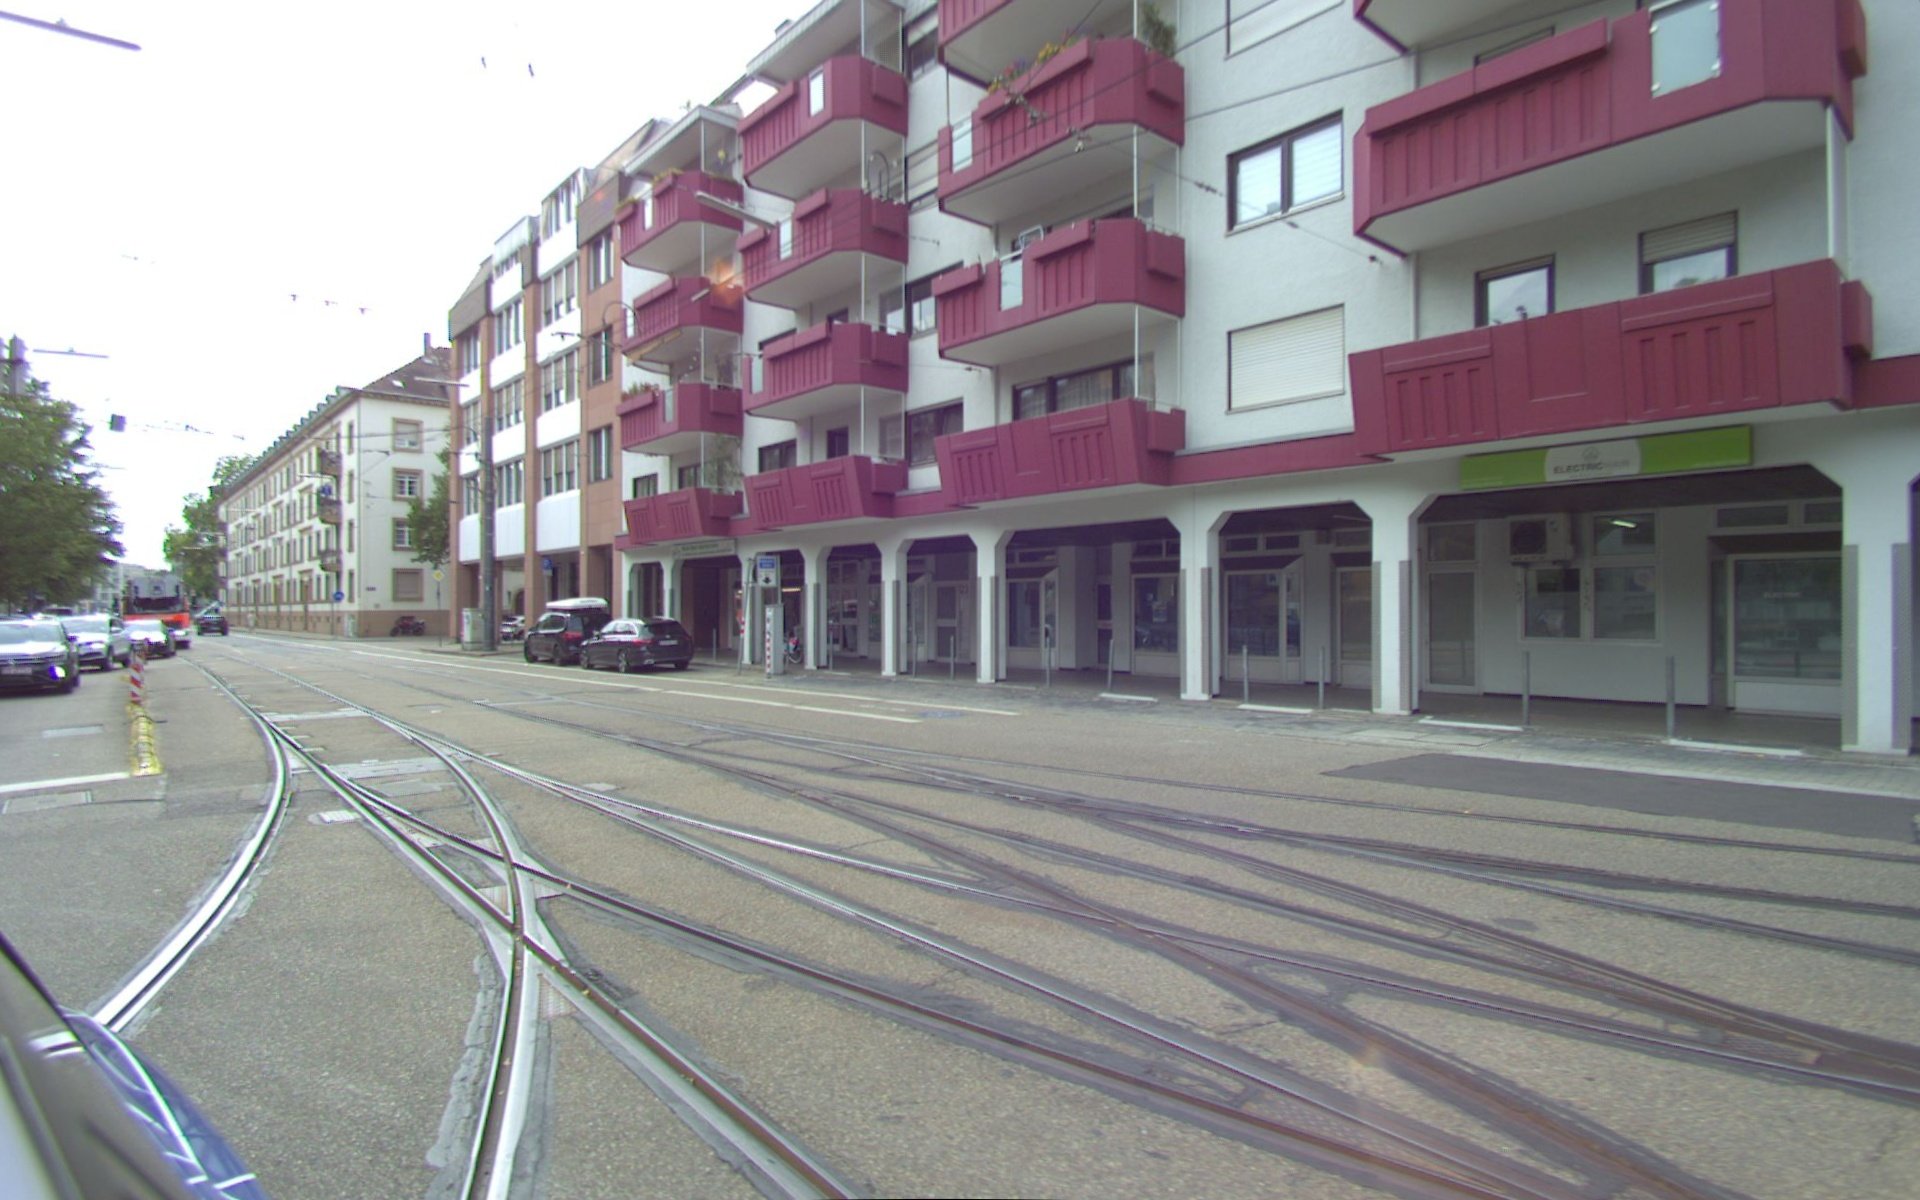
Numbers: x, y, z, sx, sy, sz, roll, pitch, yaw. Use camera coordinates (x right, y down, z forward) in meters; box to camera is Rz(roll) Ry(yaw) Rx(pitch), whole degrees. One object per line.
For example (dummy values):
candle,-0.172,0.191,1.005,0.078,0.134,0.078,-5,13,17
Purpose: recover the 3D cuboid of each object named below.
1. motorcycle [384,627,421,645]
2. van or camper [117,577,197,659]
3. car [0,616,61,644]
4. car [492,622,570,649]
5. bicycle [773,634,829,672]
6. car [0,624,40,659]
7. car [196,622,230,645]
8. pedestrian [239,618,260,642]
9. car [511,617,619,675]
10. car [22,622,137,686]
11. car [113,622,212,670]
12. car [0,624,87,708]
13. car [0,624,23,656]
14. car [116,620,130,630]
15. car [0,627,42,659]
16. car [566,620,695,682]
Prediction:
motorcycle,-35.223,2.294,63.929,1.895,1.094,0.794,1,-1,-40
van or camper,-37.402,0.815,46.997,2.568,3.447,9.667,0,-1,-41
car,-59.518,1.900,63.270,1.906,1.711,4.588,-1,-2,26
car,-23.536,1.907,55.600,1.611,1.399,3.600,-1,-1,41
bicycle,-4.216,1.392,26.749,1.650,0.960,0.558,-1,-1,43
car,-41.640,1.711,42.163,1.780,1.484,4.588,-1,-2,26
car,-54.461,2.391,73.751,1.746,1.549,4.056,-1,0,-39
pedestrian,-56.056,2.359,79.843,1.005,1.856,1.001,0,-1,0
car,-12.807,1.407,32.650,1.784,1.659,4.705,-2,1,-40
car,-25.271,1.486,29.187,1.744,1.603,4.295,-1,0,-31
car,-29.240,1.633,37.230,1.744,1.546,4.062,-1,0,-22
car,-19.749,1.326,21.321,1.746,1.559,4.291,-1,0,-37
car,-51.722,2.073,52.520,1.730,1.711,4.202,-1,-2,26
car,-154.260,4.526,186.530,1.871,1.831,4.007,1,-1,-39
car,-46.342,2.028,47.622,1.780,1.491,4.307,-1,-2,26
car,-9.215,1.343,28.097,1.733,1.491,4.705,-2,1,-40
